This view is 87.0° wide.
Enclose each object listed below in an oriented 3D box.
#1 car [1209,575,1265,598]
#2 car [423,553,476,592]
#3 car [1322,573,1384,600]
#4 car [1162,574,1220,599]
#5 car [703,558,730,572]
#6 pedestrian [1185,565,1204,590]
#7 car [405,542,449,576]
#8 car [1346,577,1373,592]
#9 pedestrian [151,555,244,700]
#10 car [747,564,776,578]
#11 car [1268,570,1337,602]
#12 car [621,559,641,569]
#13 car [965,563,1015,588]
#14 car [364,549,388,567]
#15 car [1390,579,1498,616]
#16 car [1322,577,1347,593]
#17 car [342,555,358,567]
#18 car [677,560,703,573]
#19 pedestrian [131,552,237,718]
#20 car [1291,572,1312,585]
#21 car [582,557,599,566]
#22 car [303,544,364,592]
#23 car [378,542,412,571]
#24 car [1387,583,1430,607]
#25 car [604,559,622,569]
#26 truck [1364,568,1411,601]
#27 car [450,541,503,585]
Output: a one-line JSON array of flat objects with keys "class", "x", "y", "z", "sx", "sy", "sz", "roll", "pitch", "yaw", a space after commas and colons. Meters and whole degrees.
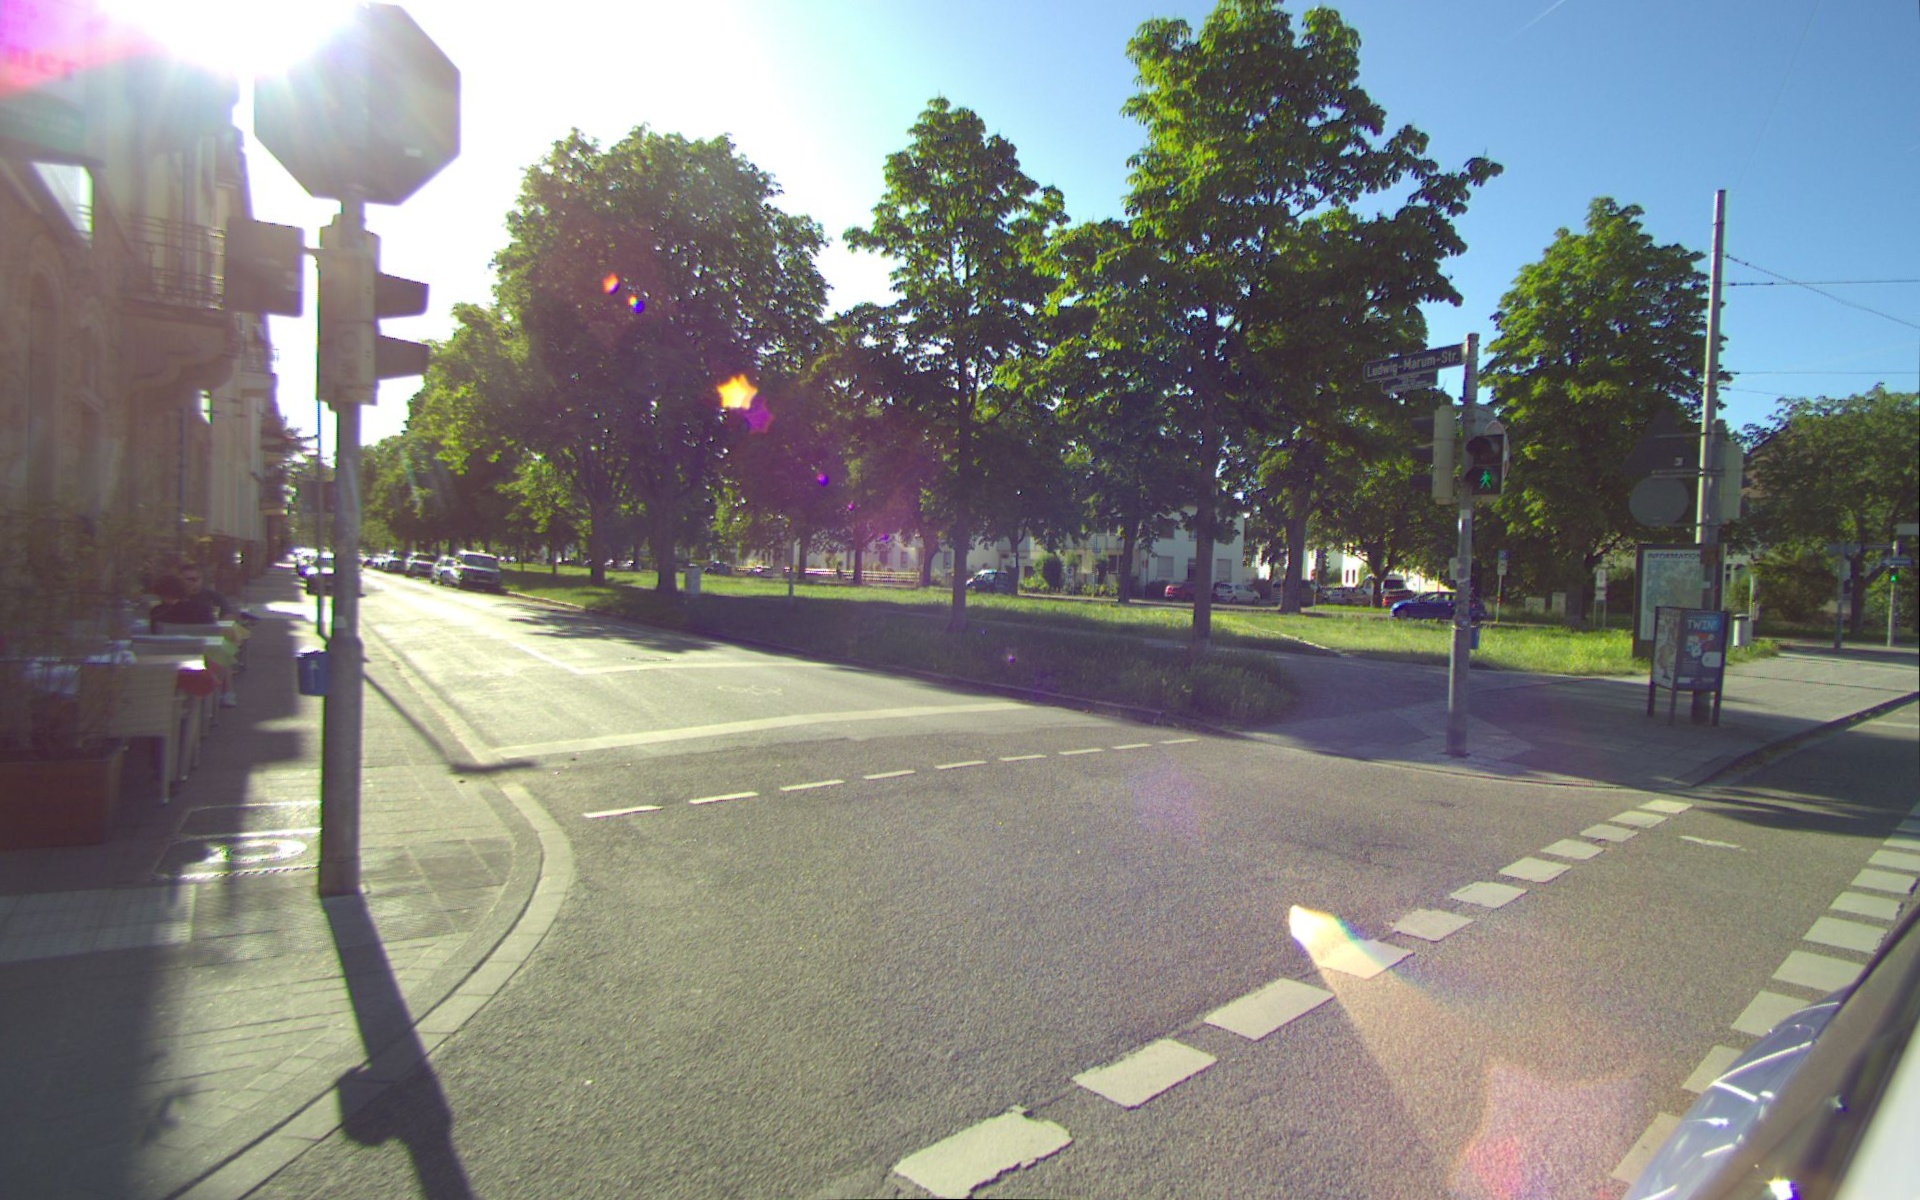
[{"class": "car", "x": 19.718, "y": -0.972, "z": 72.000, "sx": 3.822, "sy": 1.489, "sz": 1.760, "roll": 1, "pitch": 2, "yaw": -35}, {"class": "car", "x": -26.227, "y": -1.369, "z": 51.953, "sx": 1.891, "sy": 1.905, "sz": 4.067, "roll": 1, "pitch": 0, "yaw": -34}, {"class": "car", "x": 26.532, "y": -0.911, "z": 68.358, "sx": 3.637, "sy": 1.668, "sz": 1.927, "roll": 1, "pitch": 2, "yaw": -28}, {"class": "car", "x": 15.748, "y": -0.915, "z": 68.947, "sx": 3.822, "sy": 1.489, "sz": 1.760, "roll": 1, "pitch": 2, "yaw": -35}, {"class": "car", "x": -29.968, "y": -4.319, "z": 124.556, "sx": 1.790, "sy": 1.624, "sz": 4.002, "roll": 3, "pitch": 1, "yaw": -34}, {"class": "pedestrian", "x": 17.292, "y": -1.670, "z": 74.620, "sx": 0.882, "sy": 1.791, "sz": 1.025, "roll": 1, "pitch": -1, "yaw": -33}, {"class": "car", "x": -32.367, "y": -2.466, "z": 61.406, "sx": 1.891, "sy": 1.905, "sz": 3.706, "roll": 1, "pitch": 0, "yaw": -34}, {"class": "car", "x": 41.788, "y": -1.647, "z": 105.982, "sx": 1.730, "sy": 1.489, "sz": 3.887, "roll": 2, "pitch": 2, "yaw": 9}, {"class": "pedestrian", "x": -7.555, "y": 0.253, "z": 10.054, "sx": 0.688, "sy": 1.377, "sz": 0.640, "roll": 2, "pitch": 0, "yaw": -36}, {"class": "car", "x": -22.071, "y": -3.247, "z": 112.462, "sx": 1.790, "sy": 1.451, "sz": 4.002, "roll": 1, "pitch": 2, "yaw": -34}, {"class": "car", "x": 22.192, "y": -0.899, "z": 65.489, "sx": 4.256, "sy": 1.858, "sz": 1.925, "roll": 1, "pitch": 2, "yaw": -33}, {"class": "car", "x": -50.443, "y": -5.497, "z": 155.211, "sx": 1.790, "sy": 1.451, "sz": 4.002, "roll": 1, "pitch": 2, "yaw": -34}, {"class": "car", "x": 2.221, "y": -1.824, "z": 75.646, "sx": 1.782, "sy": 1.848, "sz": 4.001, "roll": -1, "pitch": 1, "yaw": -34}, {"class": "car", "x": -53.078, "y": -3.792, "z": 91.956, "sx": 1.618, "sy": 1.538, "sz": 3.405, "roll": 1, "pitch": 0, "yaw": -34}, {"class": "car", "x": 21.826, "y": -0.126, "z": 45.726, "sx": 1.783, "sy": 1.451, "sz": 3.998, "roll": 1, "pitch": 2, "yaw": -38}, {"class": "car", "x": 39.293, "y": -1.596, "z": 106.192, "sx": 1.731, "sy": 1.489, "sz": 3.887, "roll": 2, "pitch": 2, "yaw": 9}, {"class": "car", "x": -80.599, "y": -5.128, "z": 133.642, "sx": 1.618, "sy": 1.538, "sz": 3.405, "roll": 1, "pitch": 1, "yaw": -34}, {"class": "car", "x": -32.410, "y": -4.080, "z": 121.606, "sx": 1.790, "sy": 1.451, "sz": 4.002, "roll": 1, "pitch": 2, "yaw": -34}, {"class": "pedestrian", "x": -6.769, "y": 0.291, "z": 8.863, "sx": 0.688, "sy": 1.377, "sz": 0.640, "roll": 1, "pitch": -1, "yaw": -36}, {"class": "car", "x": 41.739, "y": -2.669, "z": 123.704, "sx": 1.731, "sy": 1.489, "sz": 3.887, "roll": 2, "pitch": 2, "yaw": 9}, {"class": "car", "x": -64.867, "y": -6.822, "z": 177.659, "sx": 1.790, "sy": 1.451, "sz": 4.002, "roll": 1, "pitch": 2, "yaw": -34}, {"class": "car", "x": -23.557, "y": -1.157, "z": 38.009, "sx": 1.792, "sy": 1.626, "sz": 3.854, "roll": 3, "pitch": -1, "yaw": -33}, {"class": "car", "x": -43.141, "y": -3.267, "z": 77.255, "sx": 1.890, "sy": 2.057, "sz": 4.664, "roll": 1, "pitch": 0, "yaw": -33}, {"class": "car", "x": 32.015, "y": -0.350, "z": 72.215, "sx": 1.601, "sy": 1.554, "sz": 4.217, "roll": 3, "pitch": 1, "yaw": 41}, {"class": "car", "x": -56.709, "y": -5.936, "z": 165.541, "sx": 1.790, "sy": 1.451, "sz": 4.002, "roll": 1, "pitch": 2, "yaw": -34}, {"class": "truck", "x": 35.619, "y": -1.313, "z": 84.433, "sx": 1.964, "sy": 2.607, "sz": 4.977, "roll": 2, "pitch": 2, "yaw": 4}, {"class": "car", "x": -22.723, "y": -1.682, "z": 47.537, "sx": 1.889, "sy": 1.905, "sz": 3.709, "roll": 1, "pitch": 0, "yaw": -31}]
